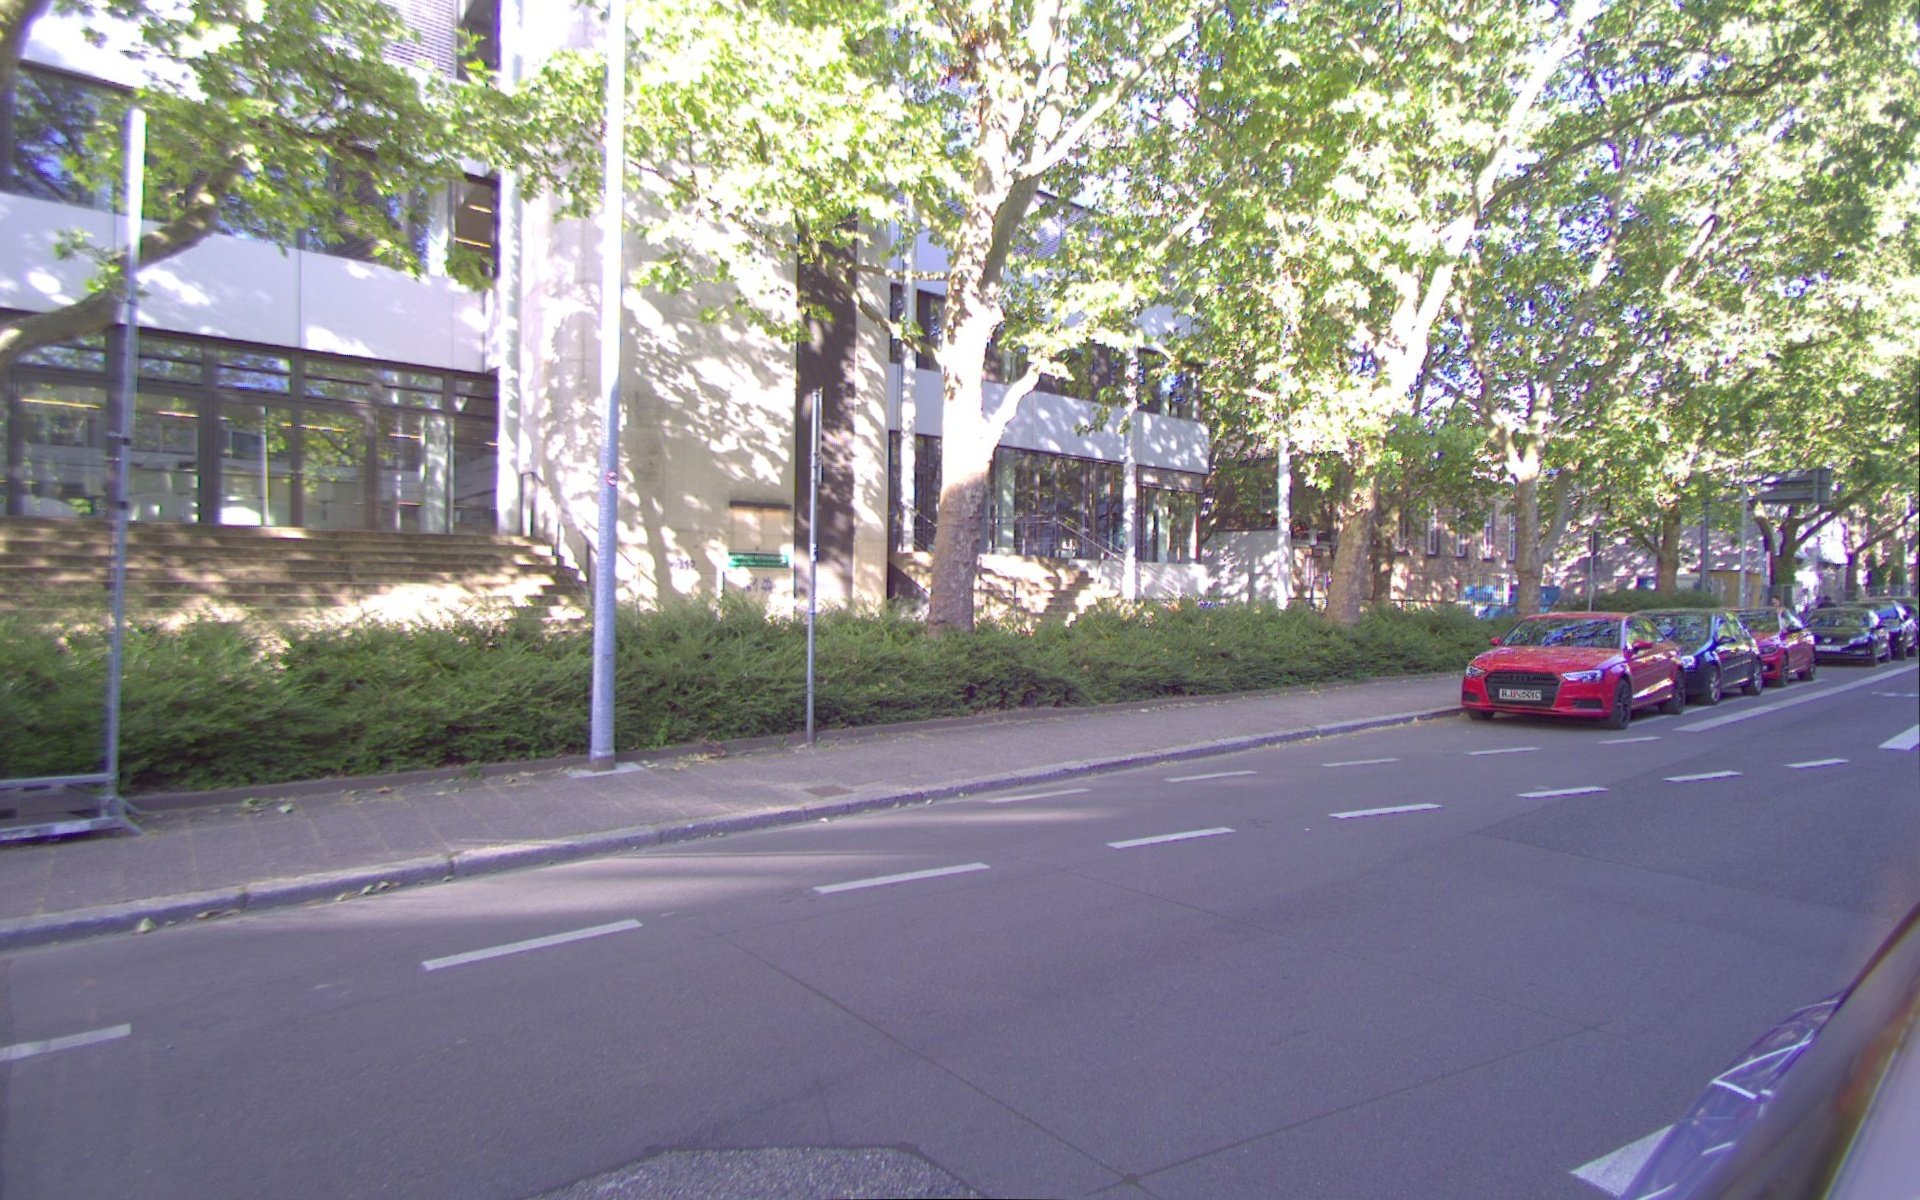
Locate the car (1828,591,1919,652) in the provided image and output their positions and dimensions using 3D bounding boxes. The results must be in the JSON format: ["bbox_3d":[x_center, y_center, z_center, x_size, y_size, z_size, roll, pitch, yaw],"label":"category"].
[{"bbox_3d":[26.570,0.575,29.087,4.088,1.626,1.834,0,0,-40],"label":"car"}]

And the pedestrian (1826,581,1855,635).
[{"bbox_3d":[30.820,0.268,35.417,0.629,1.884,0.660,0,0,-41],"label":"pedestrian"}]

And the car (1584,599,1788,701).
[{"bbox_3d":[12.033,0.721,16.688,4.095,1.464,1.834,0,0,-41],"label":"car"}]

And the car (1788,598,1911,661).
[{"bbox_3d":[22.881,0.705,25.993,4.095,1.486,1.834,0,0,-41],"label":"car"}]

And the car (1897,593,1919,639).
[{"bbox_3d":[35.920,0.583,37.101,4.183,1.634,1.834,0,0,-40],"label":"car"}]

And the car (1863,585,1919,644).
[{"bbox_3d":[31.056,0.441,32.976,4.383,1.820,1.834,0,0,-40],"label":"car"}]

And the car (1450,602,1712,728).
[{"bbox_3d":[8.413,0.739,13.571,4.173,1.422,1.834,0,0,-41],"label":"car"}]

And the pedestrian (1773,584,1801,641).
[{"bbox_3d":[26.846,0.391,32.843,0.583,1.818,0.600,0,0,-41],"label":"pedestrian"}]

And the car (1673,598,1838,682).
[{"bbox_3d":[15.848,0.711,20.102,4.095,1.486,1.834,0,0,-41],"label":"car"}]
